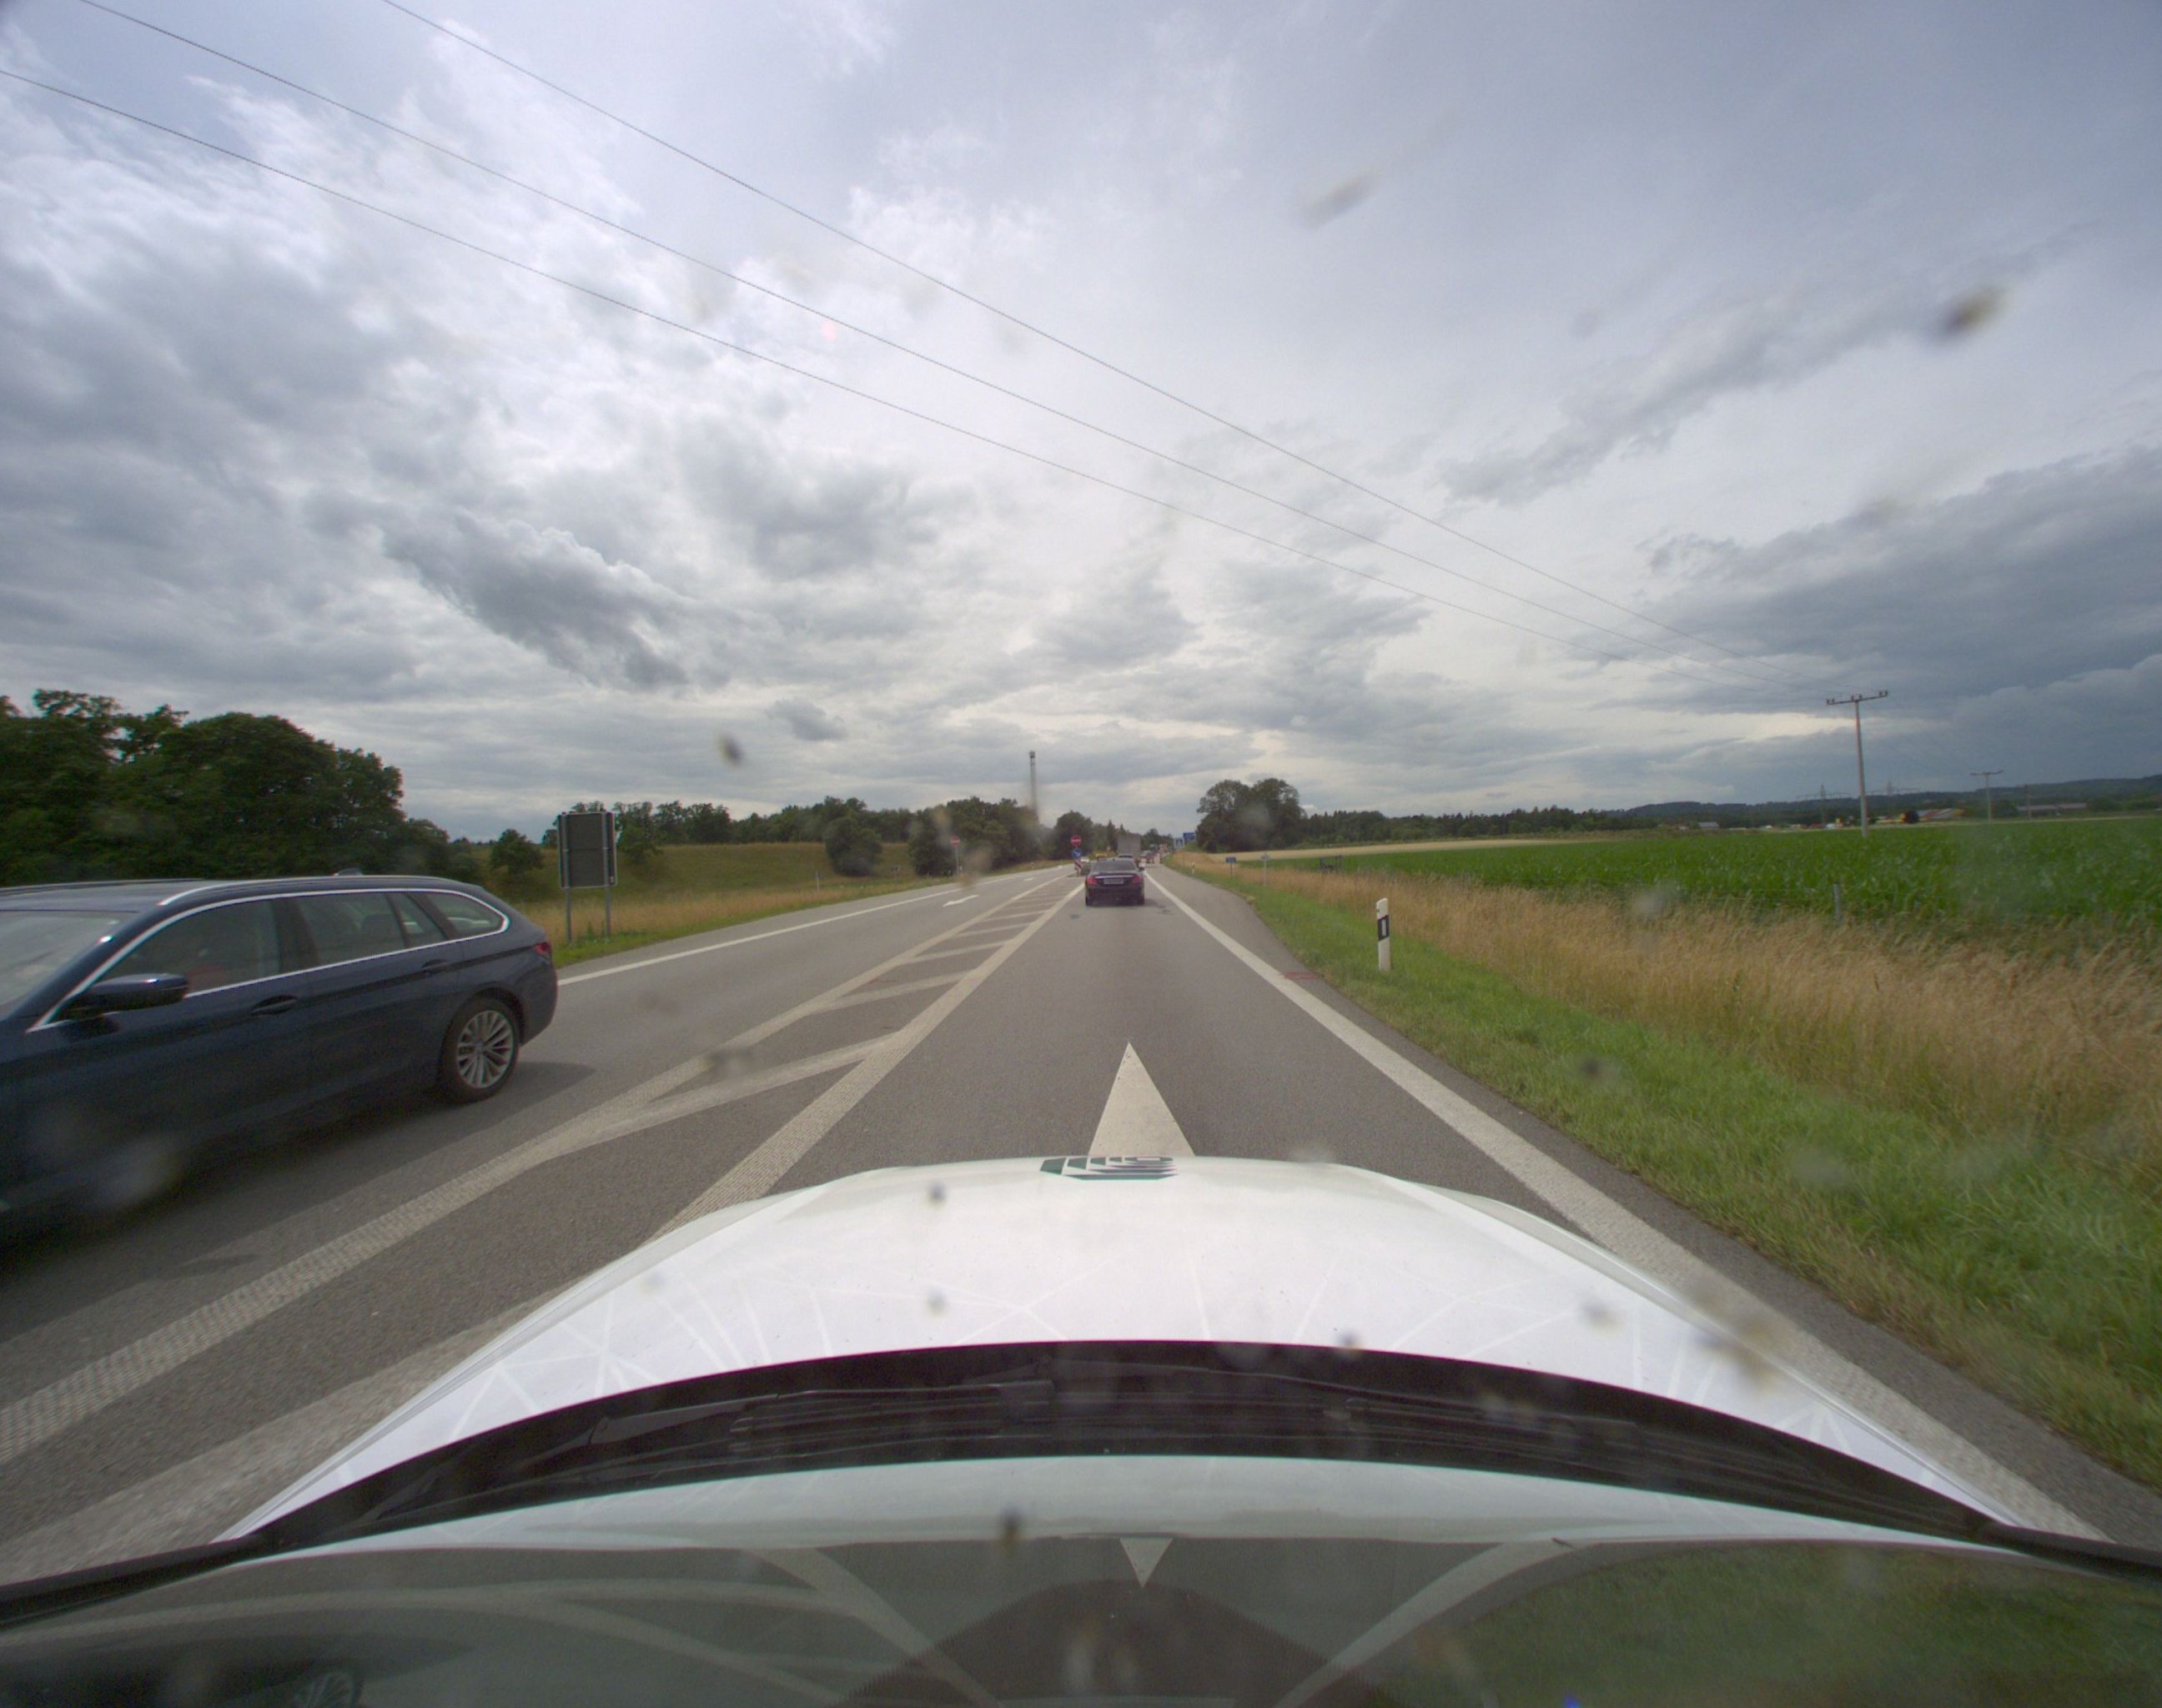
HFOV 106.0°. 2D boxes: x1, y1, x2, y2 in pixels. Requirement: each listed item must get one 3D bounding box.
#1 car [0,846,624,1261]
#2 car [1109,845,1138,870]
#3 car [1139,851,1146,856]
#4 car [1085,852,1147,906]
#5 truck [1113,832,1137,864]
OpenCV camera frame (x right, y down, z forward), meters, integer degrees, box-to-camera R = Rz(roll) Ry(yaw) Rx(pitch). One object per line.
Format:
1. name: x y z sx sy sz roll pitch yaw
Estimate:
1. car: -4.751 0.734 4.090 1.851 1.479 5.199 -1 0 2
2. car: 3.497 0.299 67.854 1.989 2.014 3.995 -1 0 -3
3. car: 15.583 -0.143 207.193 1.643 1.395 3.707 -1 0 1
4. car: 1.143 0.736 25.905 1.788 1.560 4.004 -1 0 3
5. truck: 5.104 -0.689 93.437 2.575 3.524 4.818 -1 -1 4
